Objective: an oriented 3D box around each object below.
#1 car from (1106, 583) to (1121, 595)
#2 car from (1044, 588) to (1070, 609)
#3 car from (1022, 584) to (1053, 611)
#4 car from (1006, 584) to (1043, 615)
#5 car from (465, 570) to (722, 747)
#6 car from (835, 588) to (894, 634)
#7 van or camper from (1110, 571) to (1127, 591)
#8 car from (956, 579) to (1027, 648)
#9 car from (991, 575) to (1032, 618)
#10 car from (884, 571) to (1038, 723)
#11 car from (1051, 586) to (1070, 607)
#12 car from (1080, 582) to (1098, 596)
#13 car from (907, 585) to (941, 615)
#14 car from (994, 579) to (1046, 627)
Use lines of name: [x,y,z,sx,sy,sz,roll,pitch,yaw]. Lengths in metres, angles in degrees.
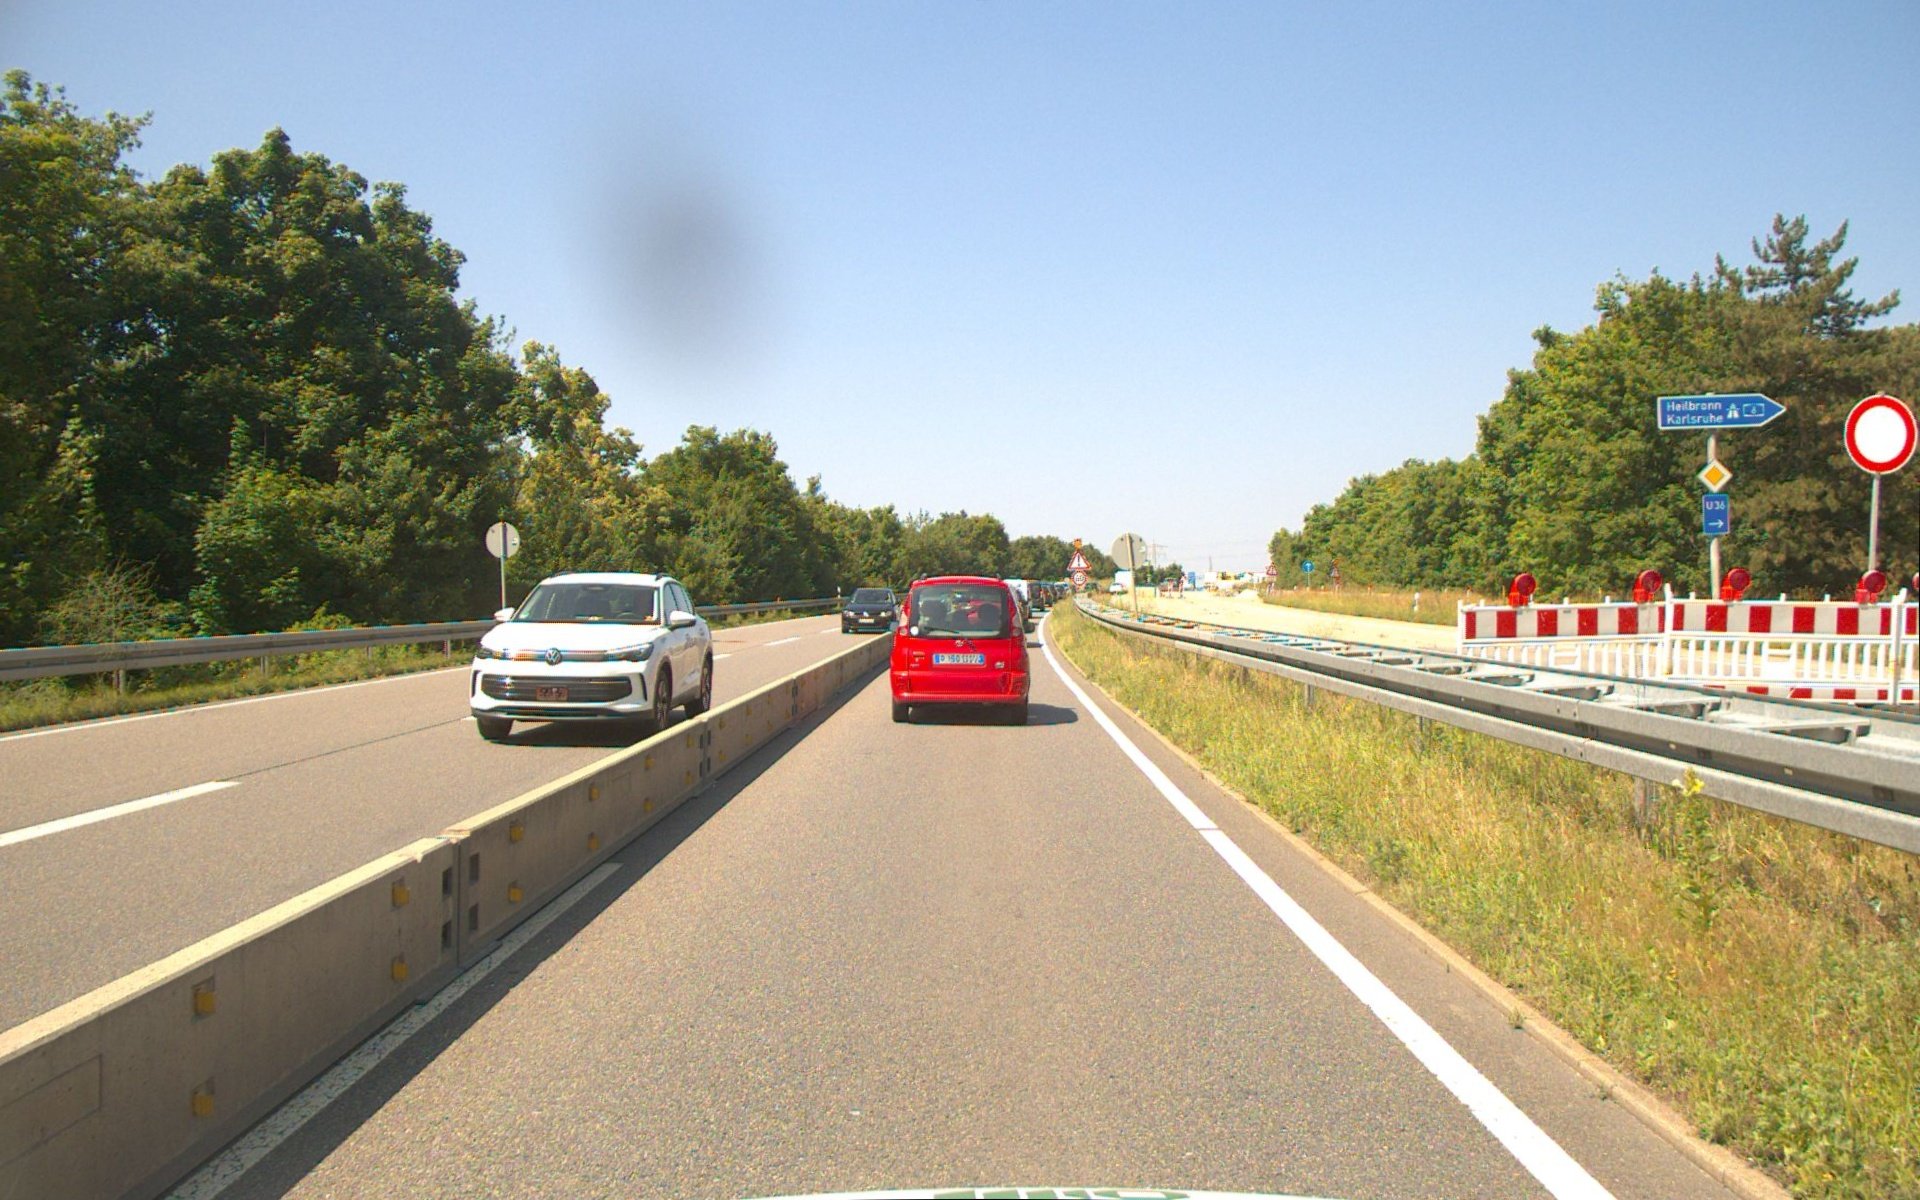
car: [20.594,-1.448,221.896,1.952,1.512,4.002,0,0,4]
car: [7.583,-0.160,129.552,1.952,1.612,4.001,0,0,2]
car: [5.371,-0.184,114.746,1.952,1.814,4.000,0,0,0]
car: [3.814,-0.045,98.183,1.953,1.780,4.000,0,1,-1]
car: [-3.724,0.534,17.572,1.811,1.629,4.321,1,0,-1]
car: [-3.126,0.336,54.571,1.779,1.449,4.107,0,0,-1]
van or camper: [22.420,-2.690,234.166,2.279,2.754,4.595,0,0,3]
car: [0.809,0.328,44.225,1.793,1.752,4.000,0,0,0]
car: [2.533,-0.175,81.224,1.952,2.038,4.001,0,0,2]
car: [0.025,0.519,20.515,1.716,1.702,4.000,0,0,0]
car: [8.506,-0.293,140.255,1.470,1.767,3.172,1,0,5]
car: [14.709,-1.276,188.340,1.951,1.579,4.002,0,0,5]
car: [-1.845,0.004,85.991,1.689,1.522,4.388,0,0,0]
car: [2.430,0.113,68.081,1.953,1.870,3.999,0,0,-1]
